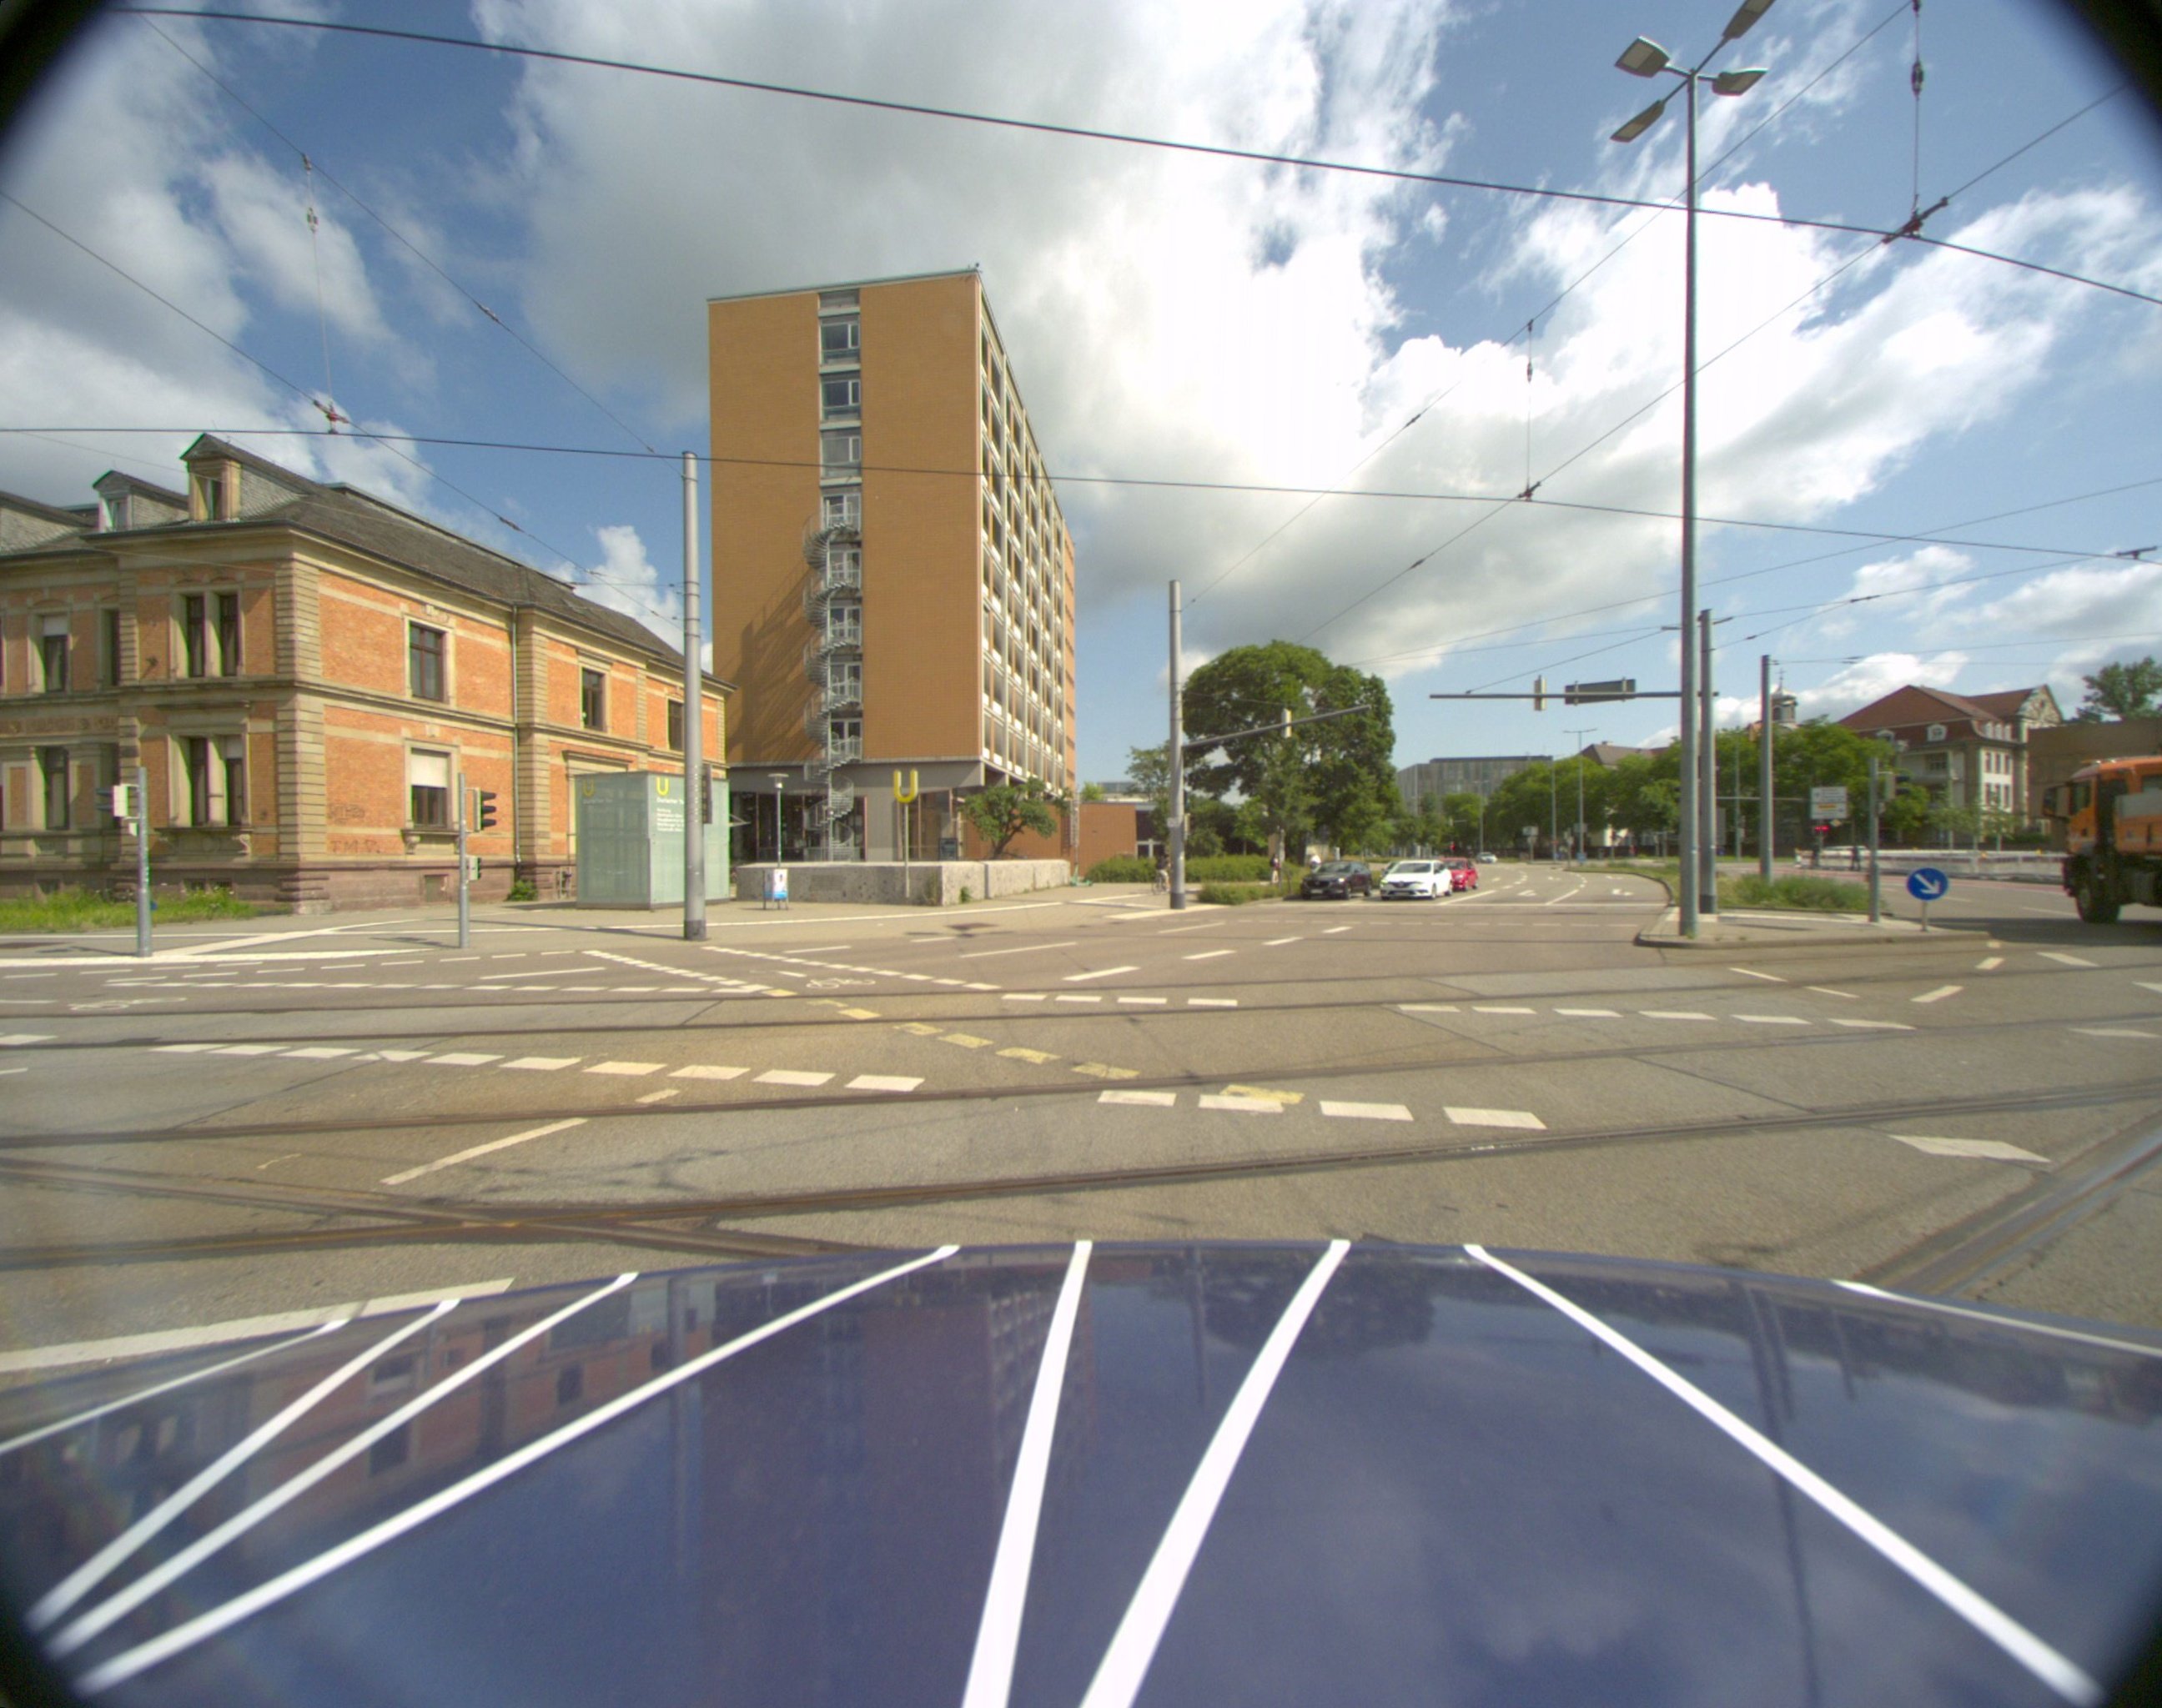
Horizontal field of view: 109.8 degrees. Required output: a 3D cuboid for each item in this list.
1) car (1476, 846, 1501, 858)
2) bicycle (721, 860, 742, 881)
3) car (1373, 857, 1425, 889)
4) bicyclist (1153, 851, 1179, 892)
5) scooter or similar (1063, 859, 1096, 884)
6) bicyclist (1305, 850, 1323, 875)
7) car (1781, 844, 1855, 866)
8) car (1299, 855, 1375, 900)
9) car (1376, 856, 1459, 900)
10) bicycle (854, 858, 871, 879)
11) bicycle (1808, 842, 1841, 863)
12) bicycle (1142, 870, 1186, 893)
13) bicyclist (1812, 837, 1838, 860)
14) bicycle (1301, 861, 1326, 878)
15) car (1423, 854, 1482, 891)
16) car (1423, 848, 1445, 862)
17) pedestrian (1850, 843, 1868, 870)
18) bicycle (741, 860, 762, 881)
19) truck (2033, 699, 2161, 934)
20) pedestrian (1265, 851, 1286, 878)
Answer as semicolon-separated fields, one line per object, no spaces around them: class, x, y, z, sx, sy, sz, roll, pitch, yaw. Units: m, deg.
car;54.913;-0.241;102.500;1.828;1.516;4.003;0;0;11
bicycle;-21.055;0.992;45.779;0.428;1.240;1.475;-1;0;8
car;16.057;0.933;38.239;1.584;1.377;4.086;-2;0;34
bicyclist;3.522;0.732;31.539;0.939;1.662;0.577;-1;2;-40
scooter or similar;-0.052;0.870;37.115;1.538;1.176;0.434;1;0;-16
bicyclist;13.750;0.486;44.839;0.634;1.449;1.172;0;1;38
car;60.234;0.090;62.133;2.003;1.772;3.990;-1;0;-33
car;10.188;0.896;30.052;1.642;1.567;4.220;-2;0;36
car;12.830;0.885;28.785;1.758;1.421;4.684;-3;0;38
bicycle;-13.357;0.901;46.411;0.428;1.240;1.475;-1;0;8
bicycle;51.595;-0.095;52.751;0.970;1.402;2.298;0;0;27
bicycle;3.457;1.148;31.561;1.813;0.870;0.759;0;2;-40
bicyclist;51.635;-0.401;52.738;0.776;1.554;1.779;0;0;26
bicycle;13.686;0.902;44.737;0.651;0.892;2.280;0;0;38
car;16.539;0.794;33.736;1.642;1.459;4.073;-2;0;35
car;47.925;0.120;103.183;1.996;1.745;4.004;-2;0;14
pedestrian;50.310;0.176;49.112;0.651;1.754;1.003;0;1;36
bicycle;-19.798;0.971;45.627;0.428;1.240;1.475;-1;0;8
truck;20.577;-0.659;13.472;2.829;3.985;8.089;0;0;38
pedestrian;11.232;0.610;43.898;0.957;1.569;0.769;-1;1;-9
